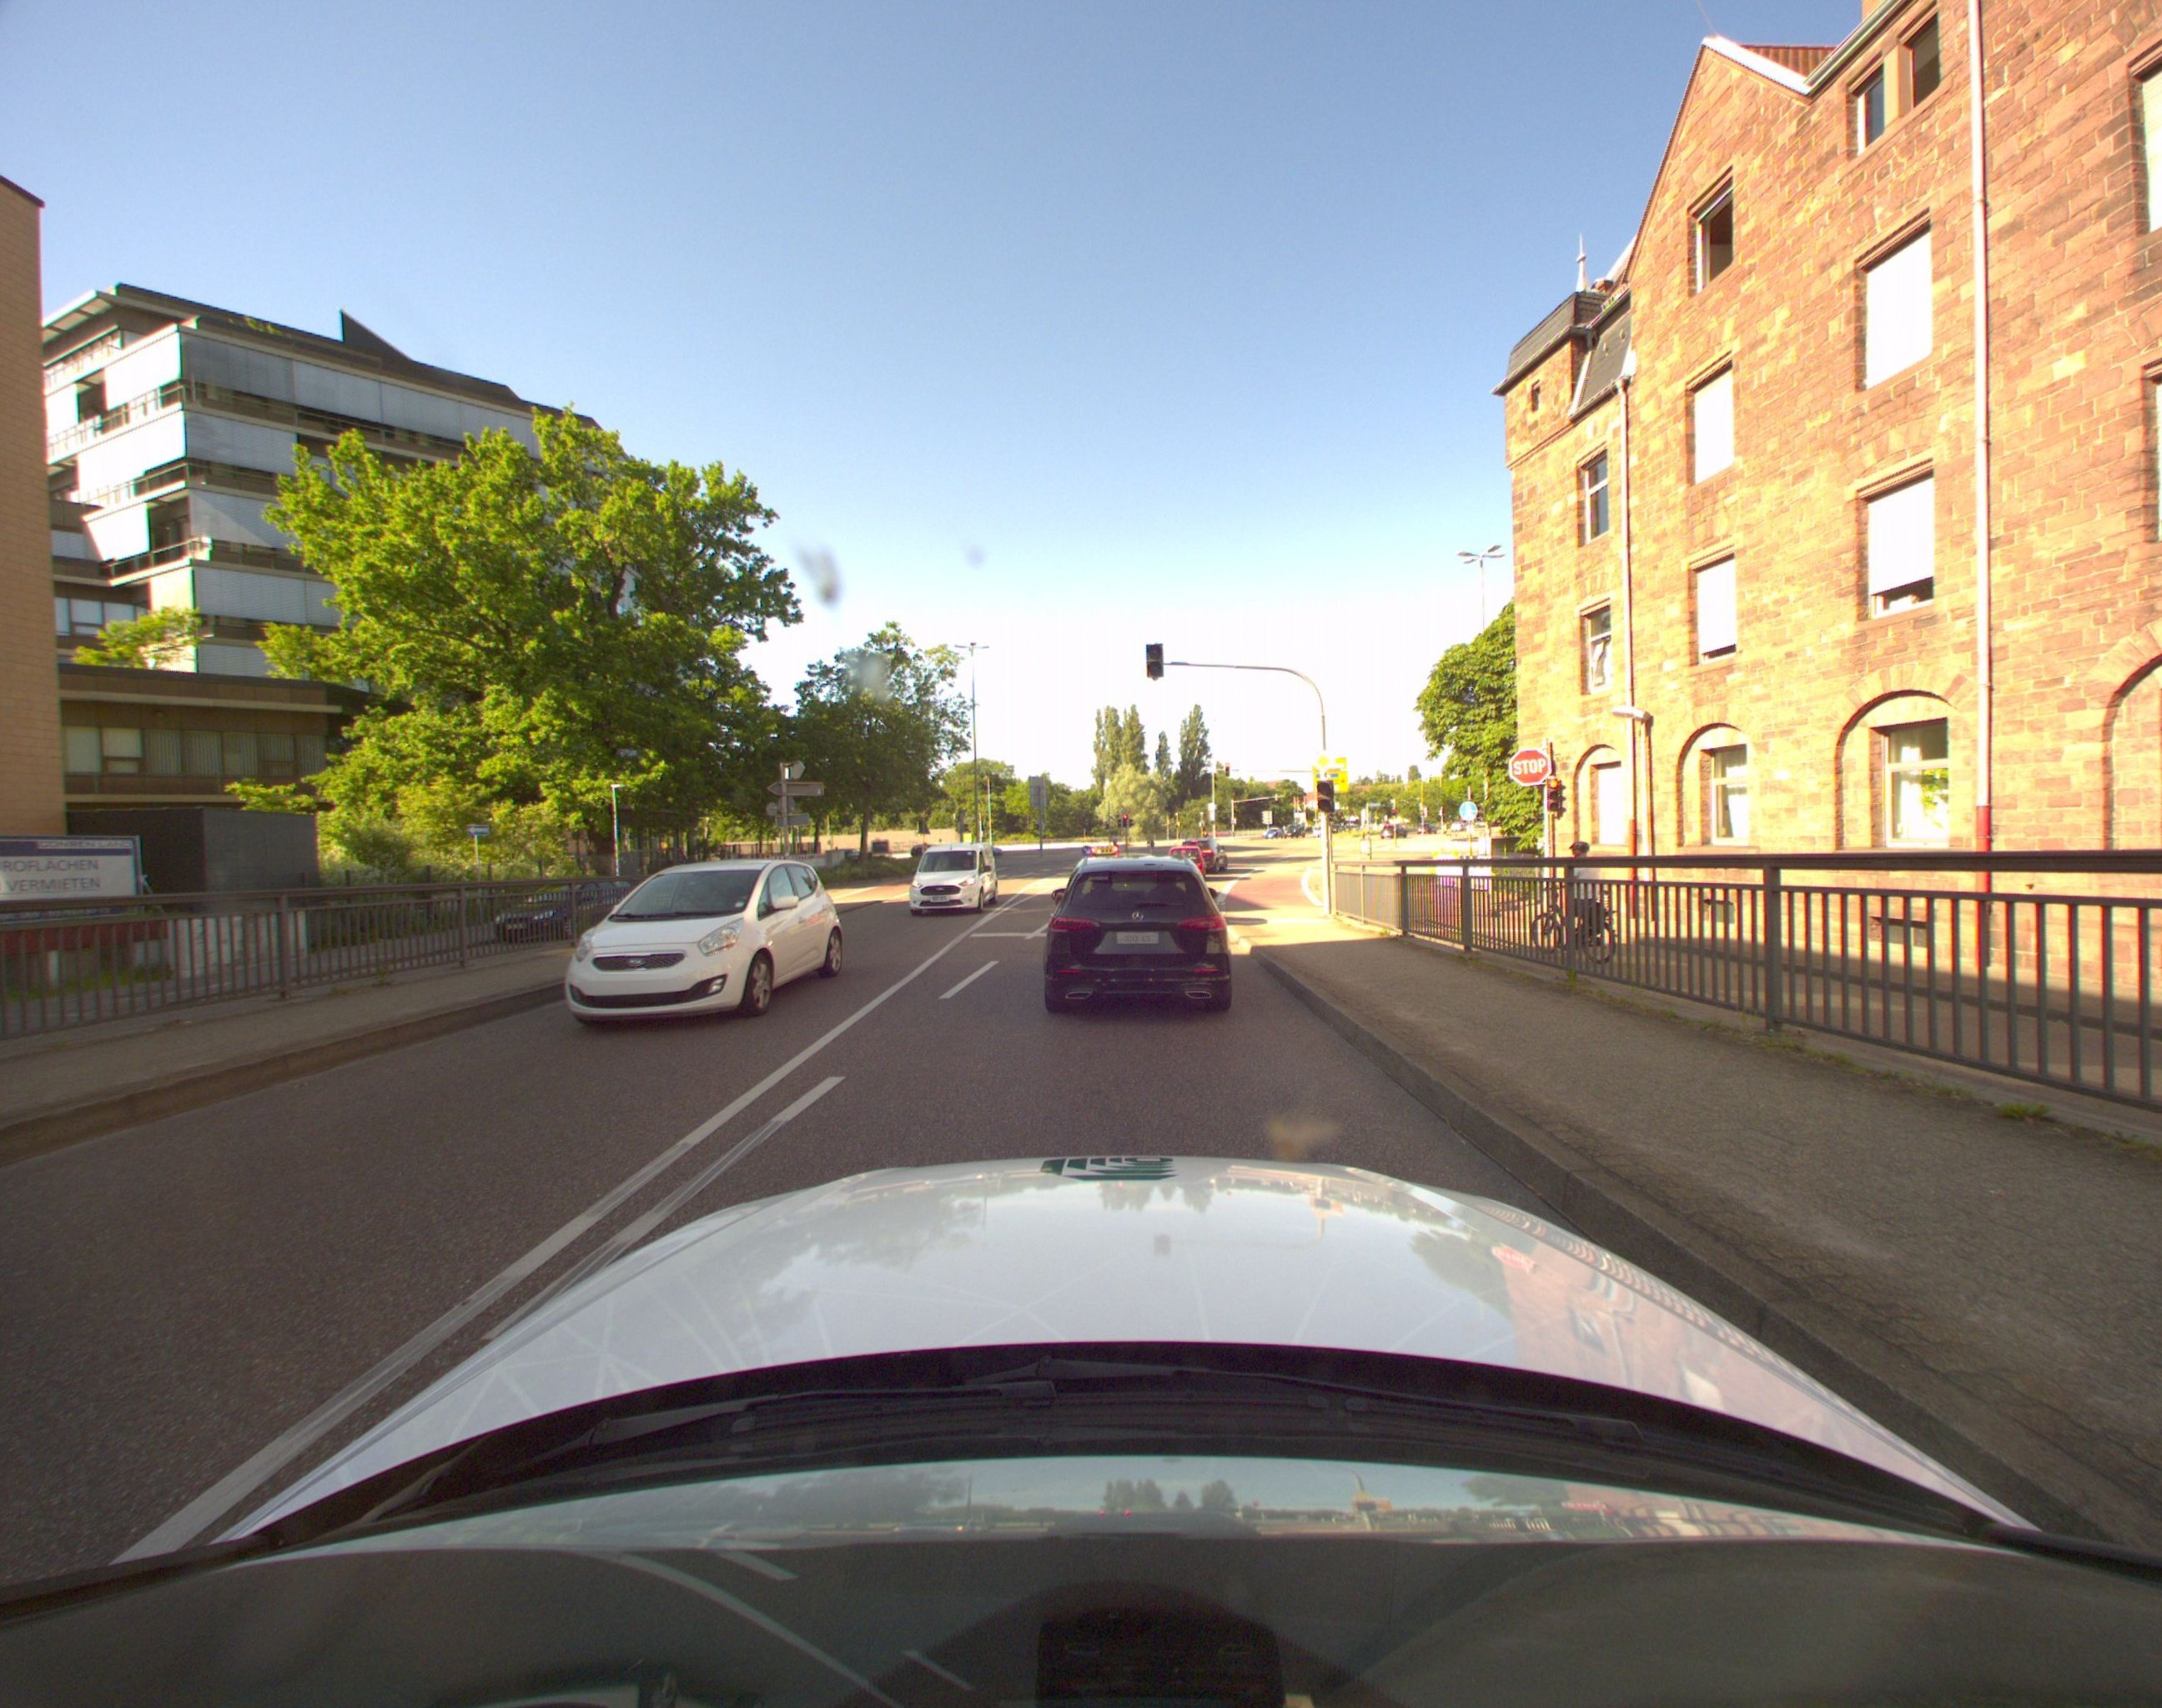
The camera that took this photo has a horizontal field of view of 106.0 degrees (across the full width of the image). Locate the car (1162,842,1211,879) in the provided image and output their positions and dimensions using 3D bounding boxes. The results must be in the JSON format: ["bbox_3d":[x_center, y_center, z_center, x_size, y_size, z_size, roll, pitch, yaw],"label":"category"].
[{"bbox_3d":[4.684,0.246,35.711,1.808,1.479,4.013,1,2,11],"label":"car"}]

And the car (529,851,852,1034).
[{"bbox_3d":[-4.080,0.789,9.354,1.815,1.603,3.998,-1,0,-1],"label":"car"}]

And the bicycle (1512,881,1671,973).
[{"bbox_3d":[7.684,1.043,12.433,0.798,1.110,2.398,-1,2,-4],"label":"bicycle"}]

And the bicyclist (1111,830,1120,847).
[{"bbox_3d":[3.491,-1.549,82.590,0.682,1.701,1.202,-2,2,13],"label":"bicyclist"}]

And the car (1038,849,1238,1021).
[{"bbox_3d":[0.560,0.729,9.197,1.744,1.494,4.001,-1,0,2],"label":"car"}]

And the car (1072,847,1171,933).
[{"bbox_3d":[0.902,0.671,17.463,1.812,1.489,4.005,-2,1,4],"label":"car"}]

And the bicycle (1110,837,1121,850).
[{"bbox_3d":[3.509,-1.107,82.599,0.682,1.202,2.336,-2,2,13],"label":"bicycle"}]

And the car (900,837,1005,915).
[{"bbox_3d":[-3.328,0.480,22.134,1.803,1.801,5.123,-2,1,2],"label":"car"}]

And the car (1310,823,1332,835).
[{"bbox_3d":[32.256,-3.368,109.607,1.802,1.582,4.130,-1,2,31],"label":"car"}]

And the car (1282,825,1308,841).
[{"bbox_3d":[28.878,-2.874,109.948,1.974,1.935,4.883,-1,2,33],"label":"car"}]

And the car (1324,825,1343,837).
[{"bbox_3d":[35.931,-3.255,115.795,1.706,1.582,4.029,-1,2,31],"label":"car"}]

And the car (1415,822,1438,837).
[{"bbox_3d":[45.956,-3.247,108.328,1.974,1.793,4.026,-2,1,35],"label":"car"}]

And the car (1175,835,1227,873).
[{"bbox_3d":[6.134,-0.058,41.181,1.853,1.789,4.436,0,2,19],"label":"car"}]

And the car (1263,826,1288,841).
[{"bbox_3d":[27.221,-2.901,113.849,1.974,1.864,4.883,-1,2,33],"label":"car"}]

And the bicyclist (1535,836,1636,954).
[{"bbox_3d":[7.675,0.587,12.433,0.798,1.705,1.084,-2,1,-4],"label":"bicyclist"}]

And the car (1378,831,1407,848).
[{"bbox_3d":[35.464,-1.587,92.712,1.974,1.794,4.025,-1,-1,39],"label":"car"}]

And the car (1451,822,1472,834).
[{"bbox_3d":[57.051,-3.881,122.175,1.974,1.639,4.026,-2,1,38],"label":"car"}]

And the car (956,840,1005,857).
[{"bbox_3d":[-9.696,-0.557,78.326,4.394,1.438,1.837,-2,1,28],"label":"car"}]

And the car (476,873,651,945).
[{"bbox_3d":[-14.112,1.435,22.575,1.813,1.503,4.453,-2,1,2],"label":"car"}]

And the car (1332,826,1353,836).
[{"bbox_3d":[39.561,-3.450,123.235,1.974,1.453,4.025,0,0,33],"label":"car"}]
